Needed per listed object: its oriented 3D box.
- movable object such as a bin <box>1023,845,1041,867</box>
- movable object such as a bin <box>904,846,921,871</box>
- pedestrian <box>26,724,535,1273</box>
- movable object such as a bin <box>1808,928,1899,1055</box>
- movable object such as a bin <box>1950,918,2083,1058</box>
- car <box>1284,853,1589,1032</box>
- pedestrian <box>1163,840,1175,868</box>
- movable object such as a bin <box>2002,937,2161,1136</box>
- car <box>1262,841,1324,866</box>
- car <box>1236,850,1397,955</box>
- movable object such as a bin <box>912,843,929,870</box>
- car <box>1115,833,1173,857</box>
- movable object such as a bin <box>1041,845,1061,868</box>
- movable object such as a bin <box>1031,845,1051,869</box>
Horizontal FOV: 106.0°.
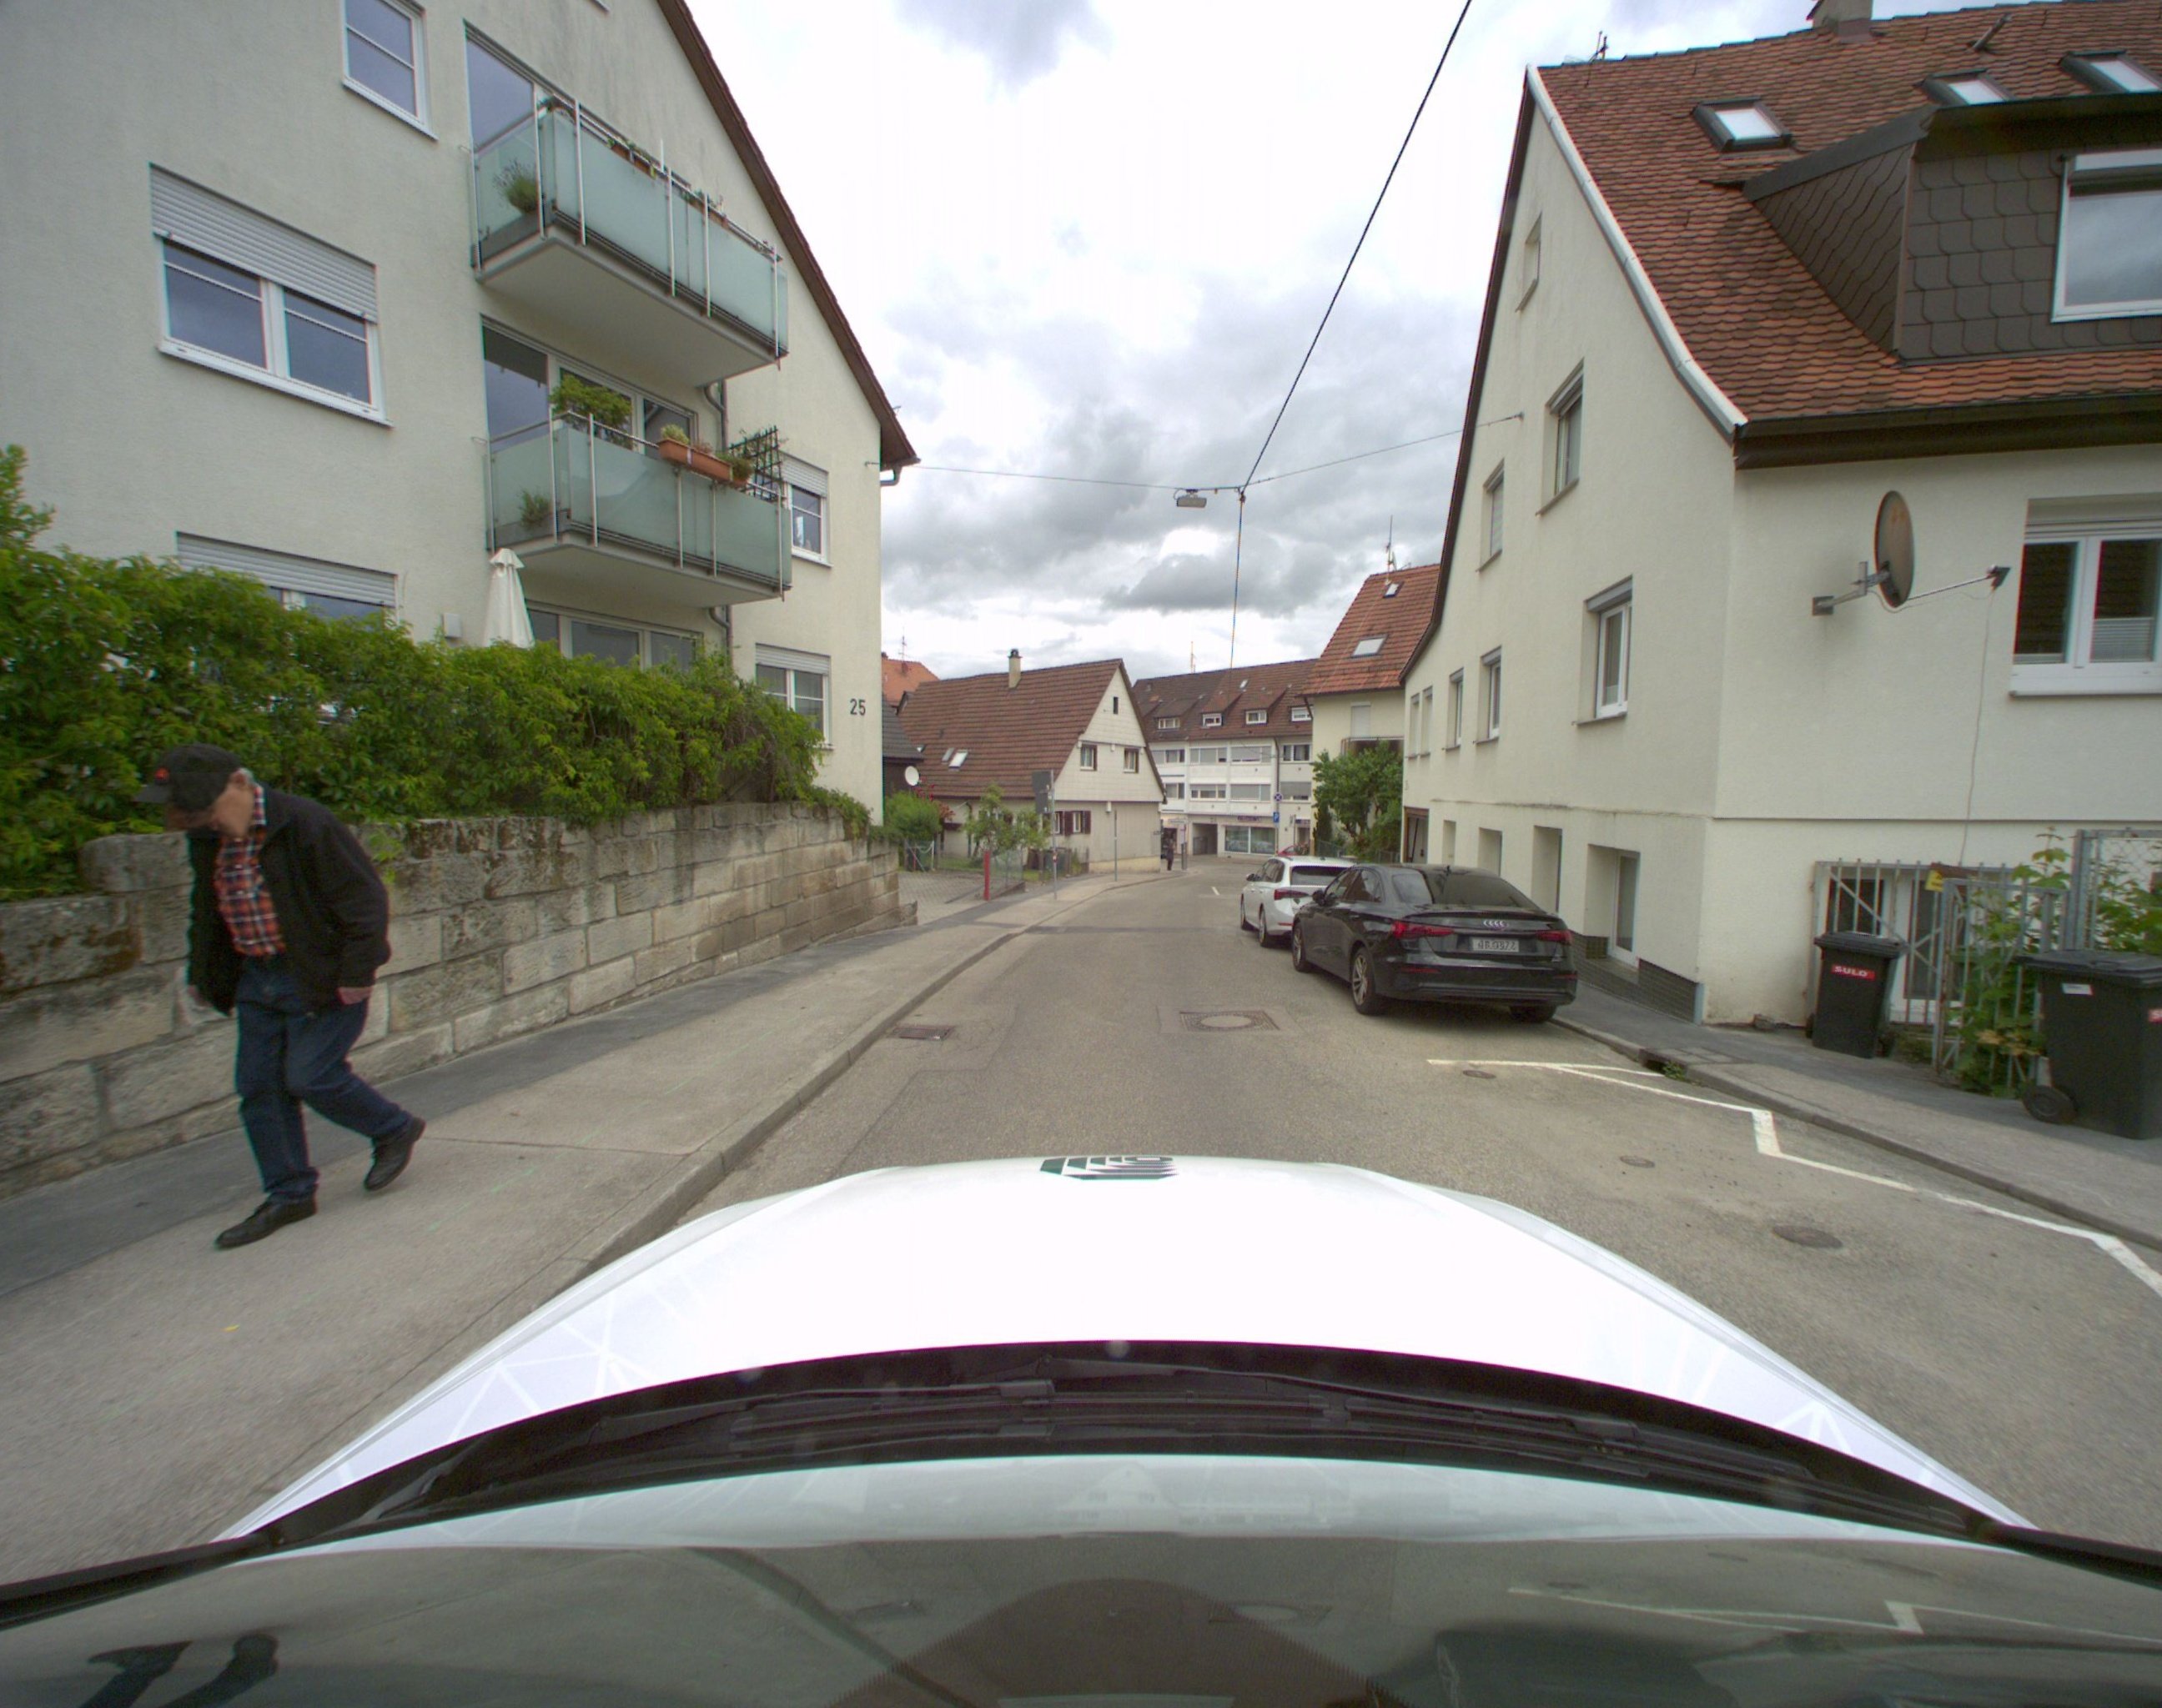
[{"bbox_3d":[-2.064,0.093,34.082,0.490,0.877,0.455,6,1,37],"label":"movable object such as a bin"},{"bbox_3d":[-6.113,0.144,29.496,0.373,0.893,0.493,1,1,23],"label":"movable object such as a bin"},{"bbox_3d":[-2.832,0.449,3.038,0.837,1.677,0.977,3,0,1],"label":"pedestrian"},{"bbox_3d":[5.988,1.043,6.314,0.436,0.866,0.447,-1,2,-40],"label":"movable object such as a bin"},{"bbox_3d":[6.766,0.939,5.896,0.484,0.888,0.534,-2,0,-32],"label":"movable object such as a bin"},{"bbox_3d":[3.491,0.743,8.874,1.667,1.408,4.054,3,0,3],"label":"car"},{"bbox_3d":[5.303,-0.007,48.824,0.642,1.684,0.606,1,2,10],"label":"pedestrian"},{"bbox_3d":[5.462,0.939,4.335,0.462,0.917,0.542,-3,0,2],"label":"movable object such as a bin"},{"bbox_3d":[14.299,-0.059,55.052,1.706,1.556,3.651,-1,3,-42],"label":"car"},{"bbox_3d":[3.813,0.688,13.949,1.786,1.445,4.303,2,0,5],"label":"car"},{"bbox_3d":[-5.895,0.083,29.977,0.395,0.981,0.511,0,0,23],"label":"movable object such as a bin"},{"bbox_3d":[4.958,-0.748,64.442,1.958,1.779,4.316,-2,3,-44],"label":"car"},{"bbox_3d":[-1.231,0.120,33.432,0.522,0.884,0.493,6,1,36],"label":"movable object such as a bin"},{"bbox_3d":[-1.656,0.114,33.720,0.522,0.917,0.493,6,1,36],"label":"movable object such as a bin"}]
